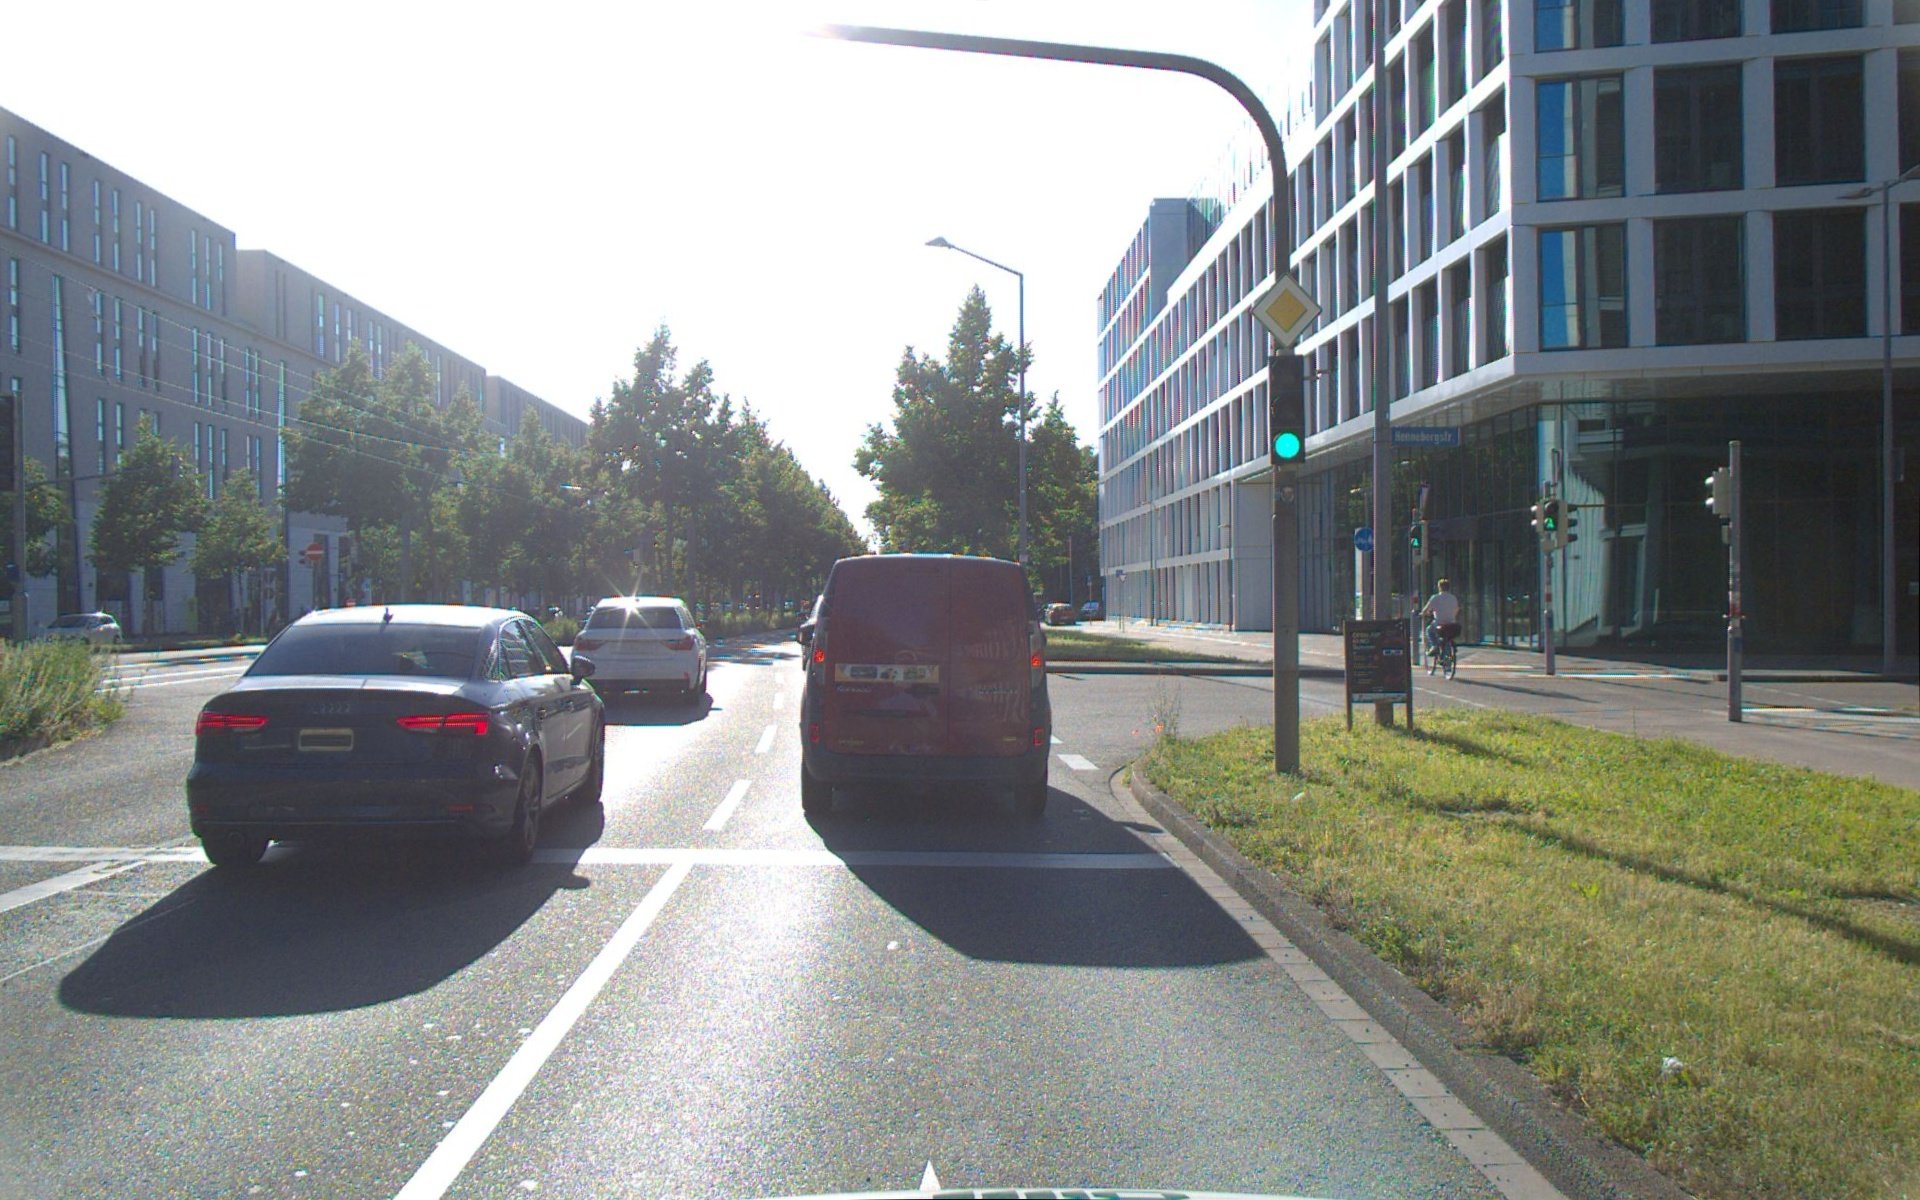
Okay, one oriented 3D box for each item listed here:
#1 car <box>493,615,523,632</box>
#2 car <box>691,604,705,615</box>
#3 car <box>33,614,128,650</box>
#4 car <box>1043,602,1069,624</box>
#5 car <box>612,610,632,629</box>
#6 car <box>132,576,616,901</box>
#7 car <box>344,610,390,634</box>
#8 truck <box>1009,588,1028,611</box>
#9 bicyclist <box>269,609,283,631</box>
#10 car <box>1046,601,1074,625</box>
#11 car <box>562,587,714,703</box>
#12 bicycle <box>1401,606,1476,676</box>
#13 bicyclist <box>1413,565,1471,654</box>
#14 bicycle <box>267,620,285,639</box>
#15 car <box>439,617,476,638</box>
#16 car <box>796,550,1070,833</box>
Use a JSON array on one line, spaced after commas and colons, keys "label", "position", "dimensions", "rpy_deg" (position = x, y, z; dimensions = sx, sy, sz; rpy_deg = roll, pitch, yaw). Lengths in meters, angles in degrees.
[{"label": "car", "position": [-37.494, 1.922, 137.267], "dimensions": [1.548, 1.366, 3.710], "rpy_deg": [-1, 0, -2]}, {"label": "car", "position": [-40.176, 1.497, 253.534], "dimensions": [1.720, 1.601, 3.998], "rpy_deg": [-1, 0, -2]}, {"label": "car", "position": [-35.283, 1.246, 66.453], "dimensions": [1.548, 1.366, 4.470], "rpy_deg": [-1, 0, -2]}, {"label": "car", "position": [7.077, 0.946, 122.337], "dimensions": [1.781, 1.559, 3.438], "rpy_deg": [-1, 0, 2]}, {"label": "car", "position": [-38.238, 2.145, 187.043], "dimensions": [1.694, 2.049, 3.997], "rpy_deg": [-1, 0, -4]}, {"label": "car", "position": [-3.287, 0.669, 10.154], "dimensions": [1.772, 1.554, 4.109], "rpy_deg": [-1, 0, -5]}, {"label": "car", "position": [-35.651, 1.308, 99.509], "dimensions": [1.548, 1.366, 3.710], "rpy_deg": [-1, 0, -2]}, {"label": "truck", "position": [6.632, -0.042, 187.984], "dimensions": [1.795, 2.545, 5.930], "rpy_deg": [0, -1, -2]}, {"label": "bicyclist", "position": [-40.943, 1.180, 98.983], "dimensions": [0.567, 1.316, 0.704], "rpy_deg": [0, -1, -7]}, {"label": "car", "position": [7.088, 0.922, 117.133], "dimensions": [1.722, 1.640, 3.903], "rpy_deg": [0, 0, 0]}, {"label": "car", "position": [-4.451, 0.577, 23.366], "dimensions": [1.773, 1.460, 4.107], "rpy_deg": [-1, 0, -7]}, {"label": "bicycle", "position": [8.603, 0.720, 29.822], "dimensions": [0.726, 1.194, 1.960], "rpy_deg": [-1, 0, -1]}, {"label": "bicyclist", "position": [8.621, 0.172, 29.603], "dimensions": [0.756, 1.558, 0.849], "rpy_deg": [-1, 0, -2]}, {"label": "bicycle", "position": [-40.945, 1.777, 98.966], "dimensions": [0.518, 1.130, 1.636], "rpy_deg": [0, -1, -5]}, {"label": "car", "position": [-37.832, 2.058, 124.611], "dimensions": [1.740, 1.555, 3.804], "rpy_deg": [-1, 0, -2]}, {"label": "car", "position": [-0.199, 0.596, 12.889], "dimensions": [1.771, 1.826, 4.112], "rpy_deg": [-1, 0, -1]}]
